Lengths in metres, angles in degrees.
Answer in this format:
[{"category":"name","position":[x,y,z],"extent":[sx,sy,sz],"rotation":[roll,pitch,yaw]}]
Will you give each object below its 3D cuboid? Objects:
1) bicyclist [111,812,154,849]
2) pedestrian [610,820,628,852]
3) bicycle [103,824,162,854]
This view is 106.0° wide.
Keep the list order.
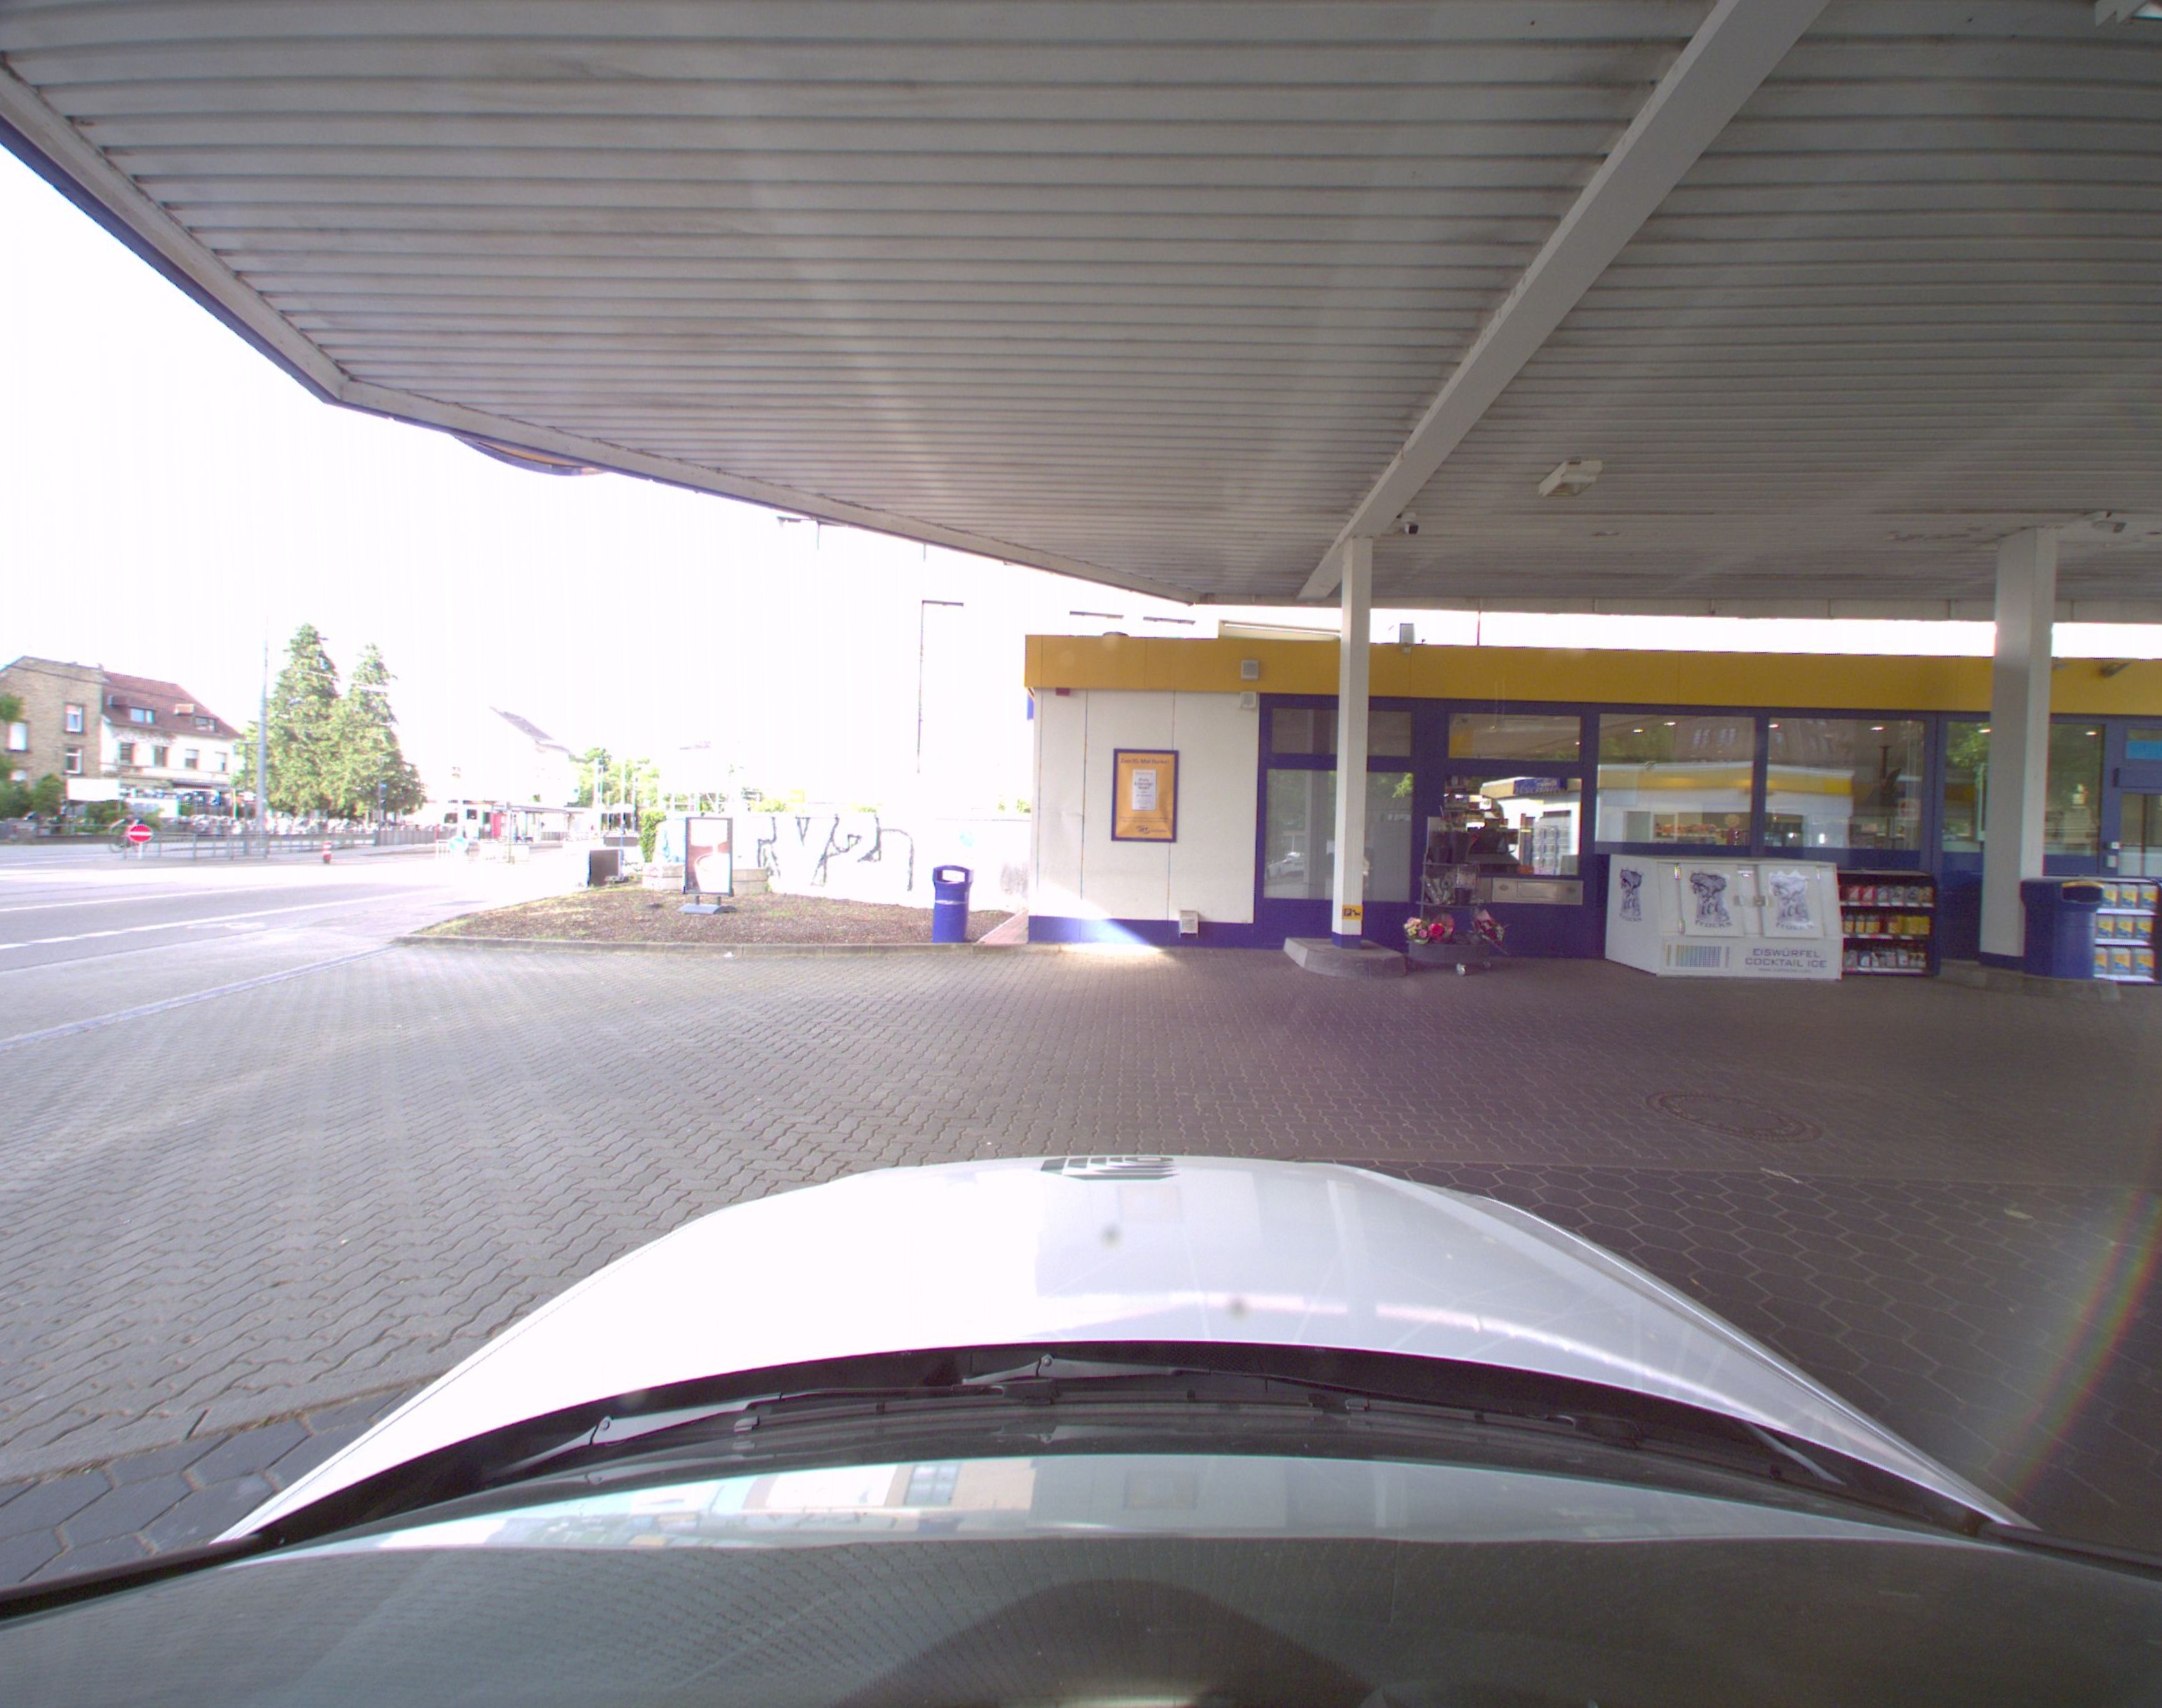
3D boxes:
[{"category":"bicyclist","position":[-39.673,-0.971,34.085],"extent":[0.680,1.534,1.079],"rotation":[0,1,-18]},{"category":"pedestrian","position":[-29.249,-1.119,51.535],"extent":[0.807,2.014,0.846],"rotation":[0,-1,-14]},{"category":"bicycle","position":[-39.678,-0.641,34.085],"extent":[0.680,1.222,1.908],"rotation":[0,1,-18]}]
